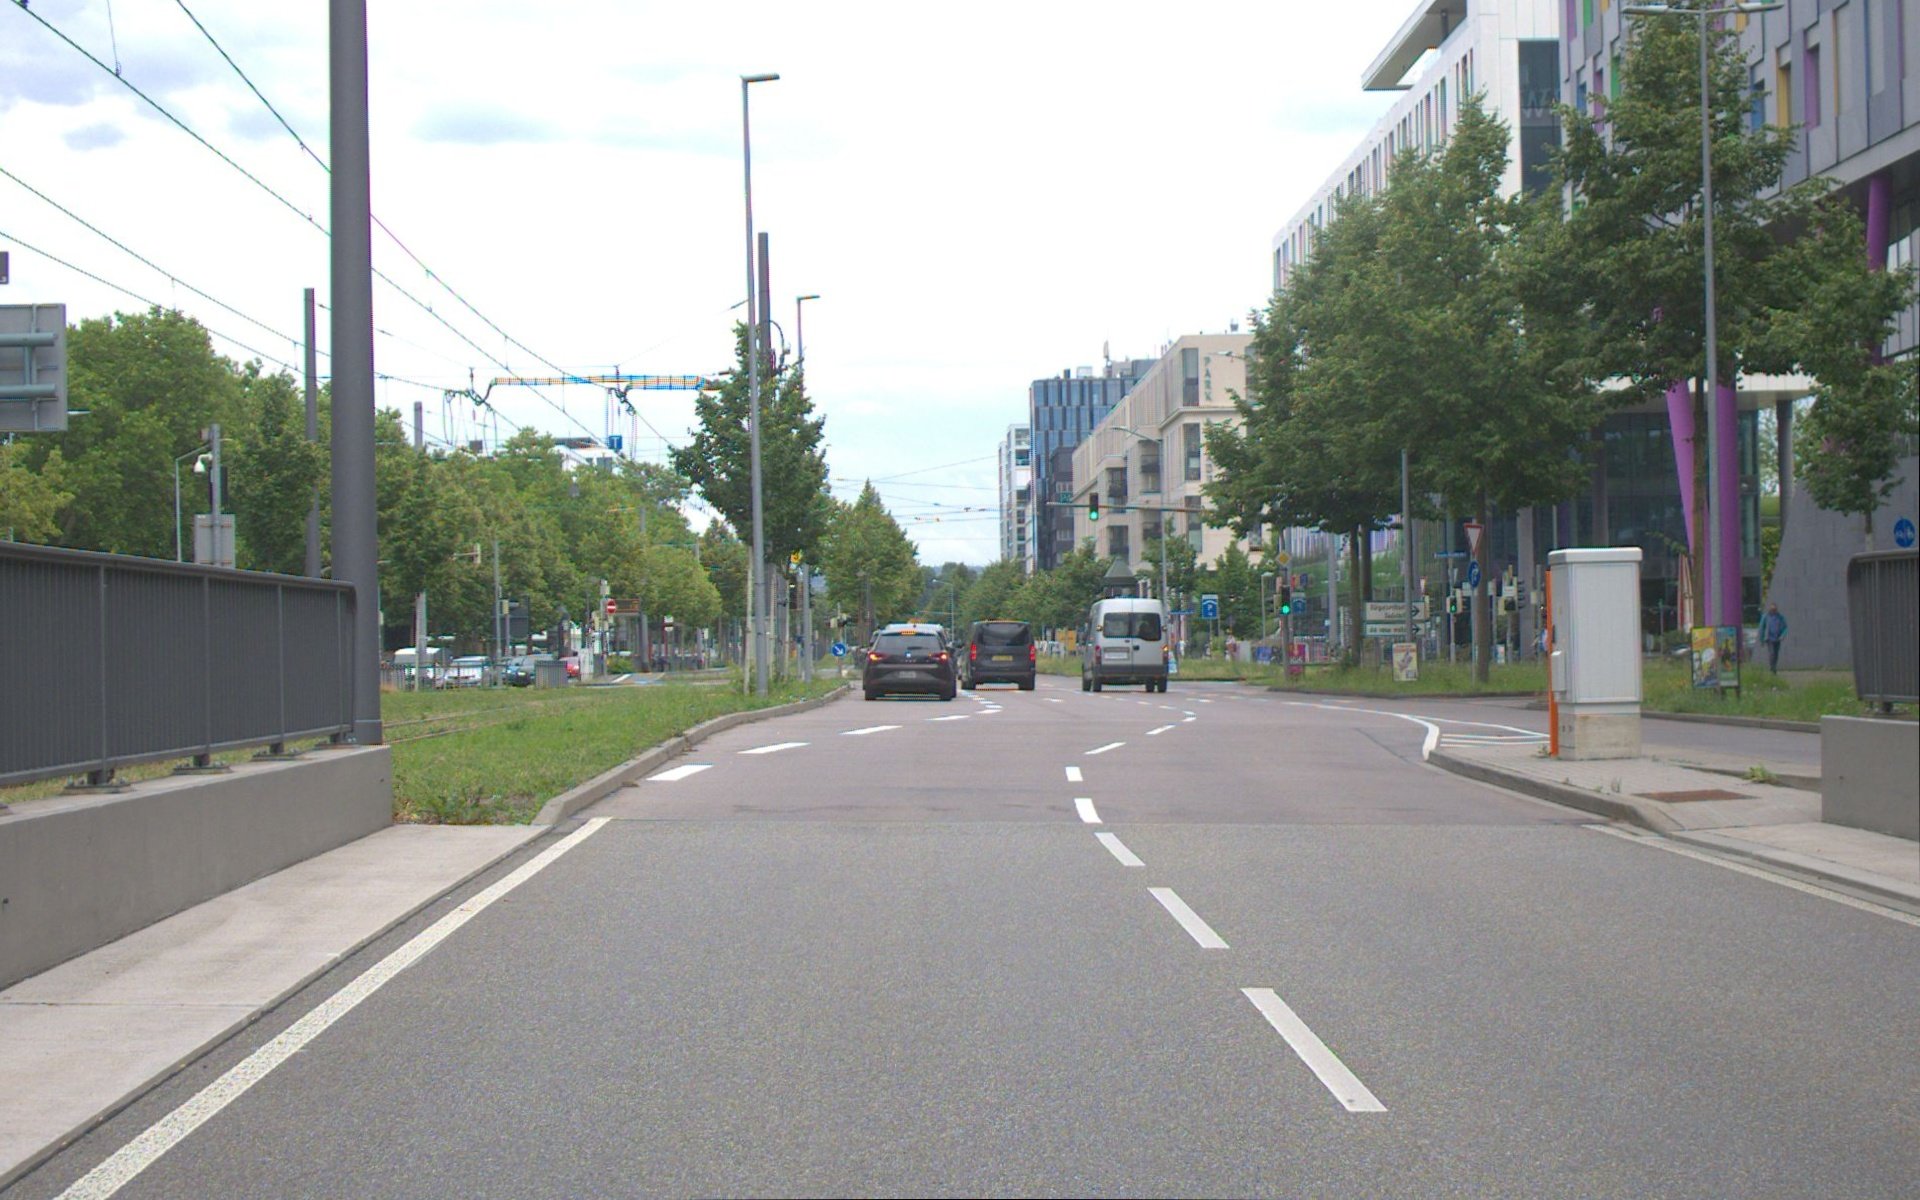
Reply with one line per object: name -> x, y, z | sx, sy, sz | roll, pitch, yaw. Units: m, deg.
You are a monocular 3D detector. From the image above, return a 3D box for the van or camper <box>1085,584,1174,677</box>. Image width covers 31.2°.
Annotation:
van or camper -> 4.517, 0.780, 92.148 | 2.109, 2.348, 4.923 | 0, 1, 0

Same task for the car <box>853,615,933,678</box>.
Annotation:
car -> -1.818, 1.267, 94.164 | 1.993, 1.676, 4.000 | 0, -1, 2

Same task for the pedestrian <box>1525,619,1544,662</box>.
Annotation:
pedestrian -> 21.757, 1.538, 130.133 | 0.614, 1.599, 0.618 | -1, -1, 2

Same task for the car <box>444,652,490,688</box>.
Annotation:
car -> -21.775, 3.100, 151.983 | 1.728, 1.440, 4.923 | -3, 0, -5

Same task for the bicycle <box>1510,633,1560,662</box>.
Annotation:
bicycle -> 21.765, 1.802, 130.127 | 1.792, 1.082, 0.617 | -1, -1, 1

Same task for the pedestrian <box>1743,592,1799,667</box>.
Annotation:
pedestrian -> 19.353, 0.708, 82.054 | 1.051, 1.764, 1.137 | -1, 0, 0

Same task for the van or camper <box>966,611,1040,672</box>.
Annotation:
van or camper -> 1.171, 1.129, 95.457 | 1.993, 1.610, 4.789 | 0, 0, 0

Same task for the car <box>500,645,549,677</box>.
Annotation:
car -> -22.191, 3.113, 175.303 | 1.964, 1.583, 4.689 | 0, -1, -1

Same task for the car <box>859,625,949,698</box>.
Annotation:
car -> -1.154, 1.233, 69.294 | 1.743, 1.412, 4.000 | 1, -1, -1
